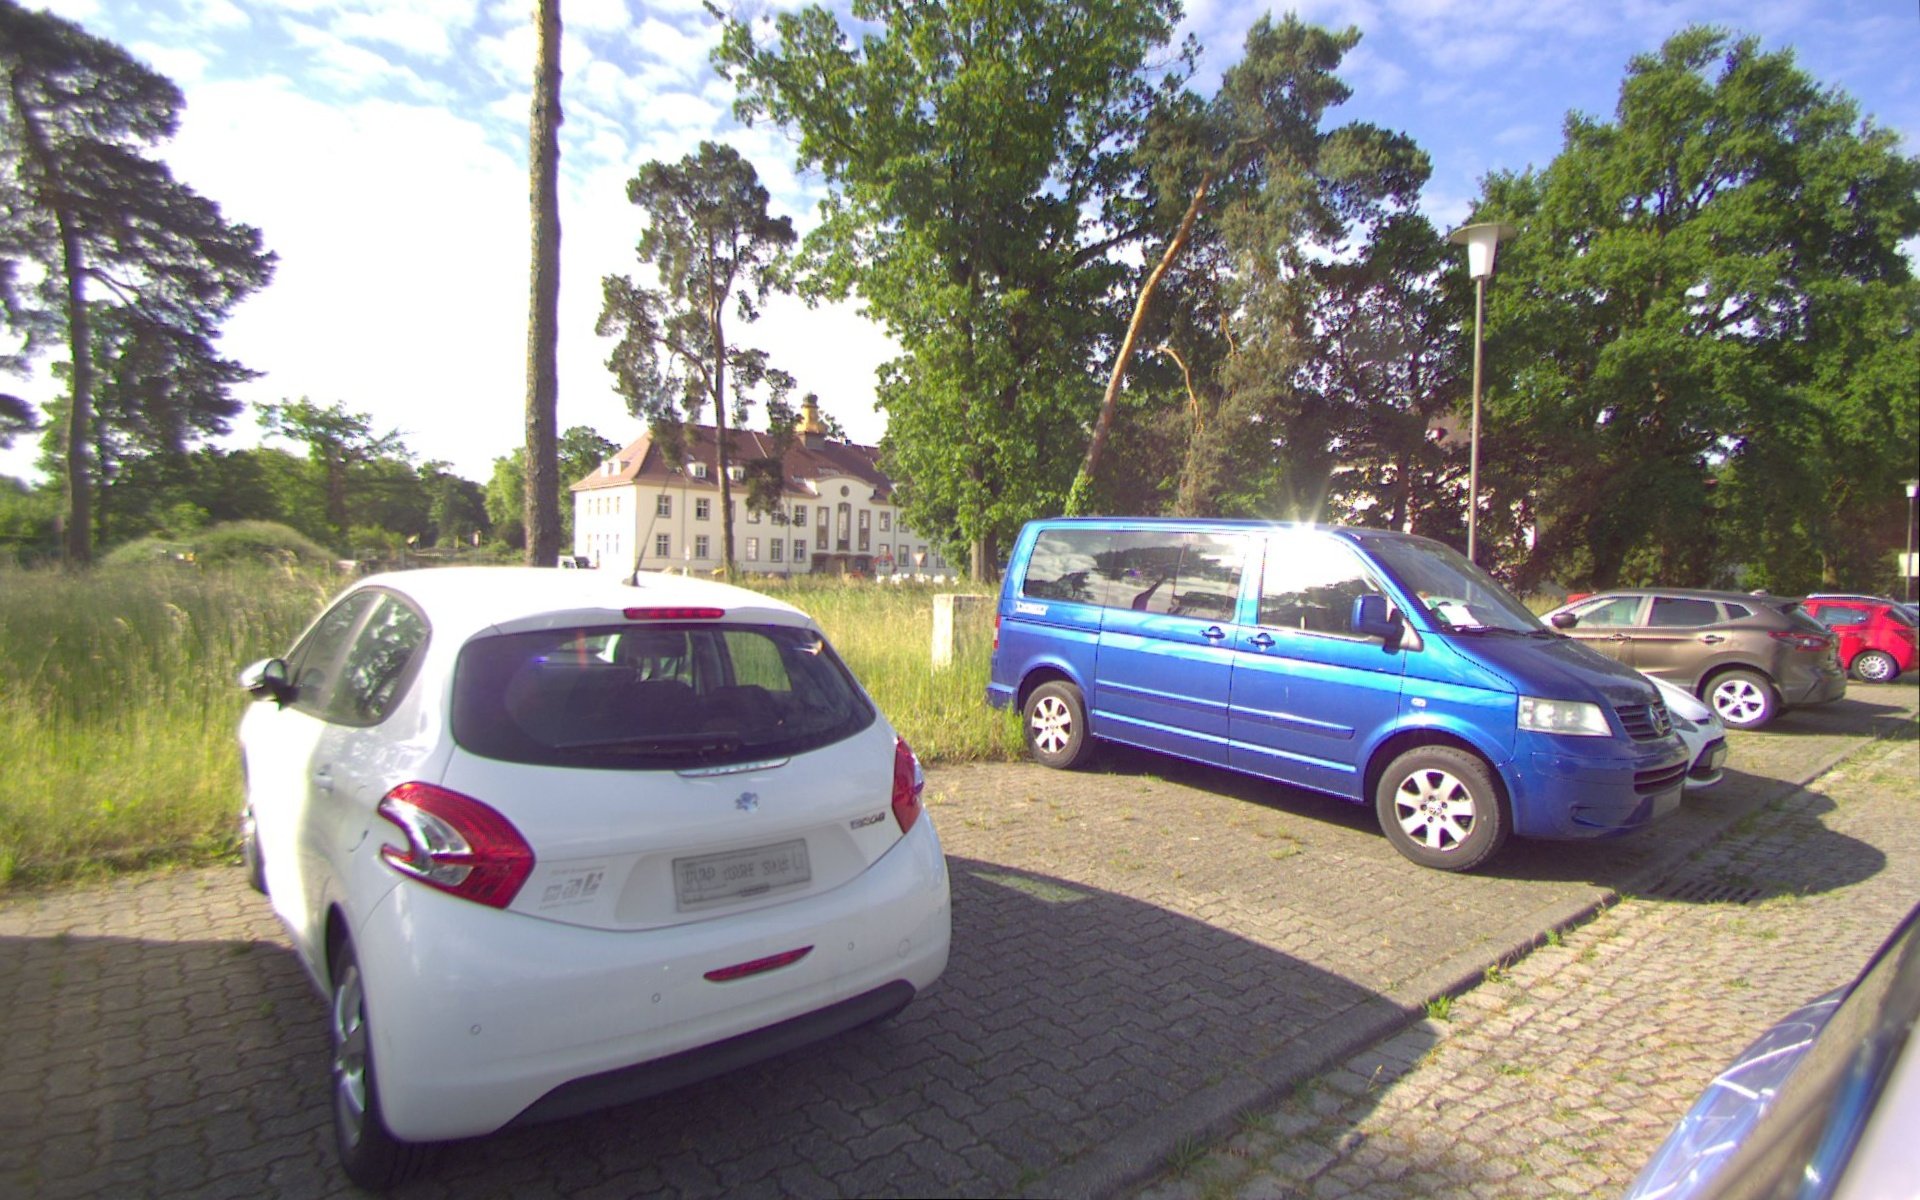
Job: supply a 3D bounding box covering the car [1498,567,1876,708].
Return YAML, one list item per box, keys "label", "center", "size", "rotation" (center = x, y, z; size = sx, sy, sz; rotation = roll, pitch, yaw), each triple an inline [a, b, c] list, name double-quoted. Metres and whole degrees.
- label: "car"
  center: [10.658, 0.412, 15.086]
  size: [1.902, 1.617, 4.233]
  rotation: [-1, 4, -43]

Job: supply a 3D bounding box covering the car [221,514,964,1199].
- label: "car"
  center: [-1.856, 0.476, 4.198]
  size: [1.729, 1.553, 3.717]
  rotation: [1, 3, -39]

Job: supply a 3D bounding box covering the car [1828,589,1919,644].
- label: "car"
  center: [27.855, 0.539, 29.136]
  size: [1.754, 1.440, 4.096]
  rotation: [1, 3, -41]

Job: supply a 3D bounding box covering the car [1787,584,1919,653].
- label: "car"
  center: [24.281, 0.496, 26.235]
  size: [1.821, 1.576, 4.096]
  rotation: [1, 3, -41]

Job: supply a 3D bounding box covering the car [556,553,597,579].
- label: "car"
  center: [-35.418, -3.120, 93.332]
  size: [1.967, 2.240, 4.423]
  rotation: [-1, 0, -44]

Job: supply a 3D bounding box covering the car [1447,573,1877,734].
- label: "car"
  center: [8.871, 0.522, 13.077]
  size: [1.902, 1.617, 4.232]
  rotation: [-1, 3, -43]

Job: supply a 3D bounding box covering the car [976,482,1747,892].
- label: "car"
  center: [2.424, 0.271, 7.248]
  size: [1.965, 1.959, 4.709]
  rotation: [0, 3, -40]

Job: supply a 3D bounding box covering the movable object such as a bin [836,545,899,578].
- label: "movable object such as a bin"
  center: [-9.912, -4.085, 108.585]
  size: [6.338, 3.342, 2.862]
  rotation: [-1, 0, 7]

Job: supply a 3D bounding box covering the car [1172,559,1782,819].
- label: "car"
  center: [4.285, 0.527, 9.030]
  size: [1.905, 1.596, 4.408]
  rotation: [0, 3, -40]

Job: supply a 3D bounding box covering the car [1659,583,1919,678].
- label: "car"
  center: [16.468, 0.523, 19.916]
  size: [1.821, 1.477, 4.096]
  rotation: [1, 3, -41]
